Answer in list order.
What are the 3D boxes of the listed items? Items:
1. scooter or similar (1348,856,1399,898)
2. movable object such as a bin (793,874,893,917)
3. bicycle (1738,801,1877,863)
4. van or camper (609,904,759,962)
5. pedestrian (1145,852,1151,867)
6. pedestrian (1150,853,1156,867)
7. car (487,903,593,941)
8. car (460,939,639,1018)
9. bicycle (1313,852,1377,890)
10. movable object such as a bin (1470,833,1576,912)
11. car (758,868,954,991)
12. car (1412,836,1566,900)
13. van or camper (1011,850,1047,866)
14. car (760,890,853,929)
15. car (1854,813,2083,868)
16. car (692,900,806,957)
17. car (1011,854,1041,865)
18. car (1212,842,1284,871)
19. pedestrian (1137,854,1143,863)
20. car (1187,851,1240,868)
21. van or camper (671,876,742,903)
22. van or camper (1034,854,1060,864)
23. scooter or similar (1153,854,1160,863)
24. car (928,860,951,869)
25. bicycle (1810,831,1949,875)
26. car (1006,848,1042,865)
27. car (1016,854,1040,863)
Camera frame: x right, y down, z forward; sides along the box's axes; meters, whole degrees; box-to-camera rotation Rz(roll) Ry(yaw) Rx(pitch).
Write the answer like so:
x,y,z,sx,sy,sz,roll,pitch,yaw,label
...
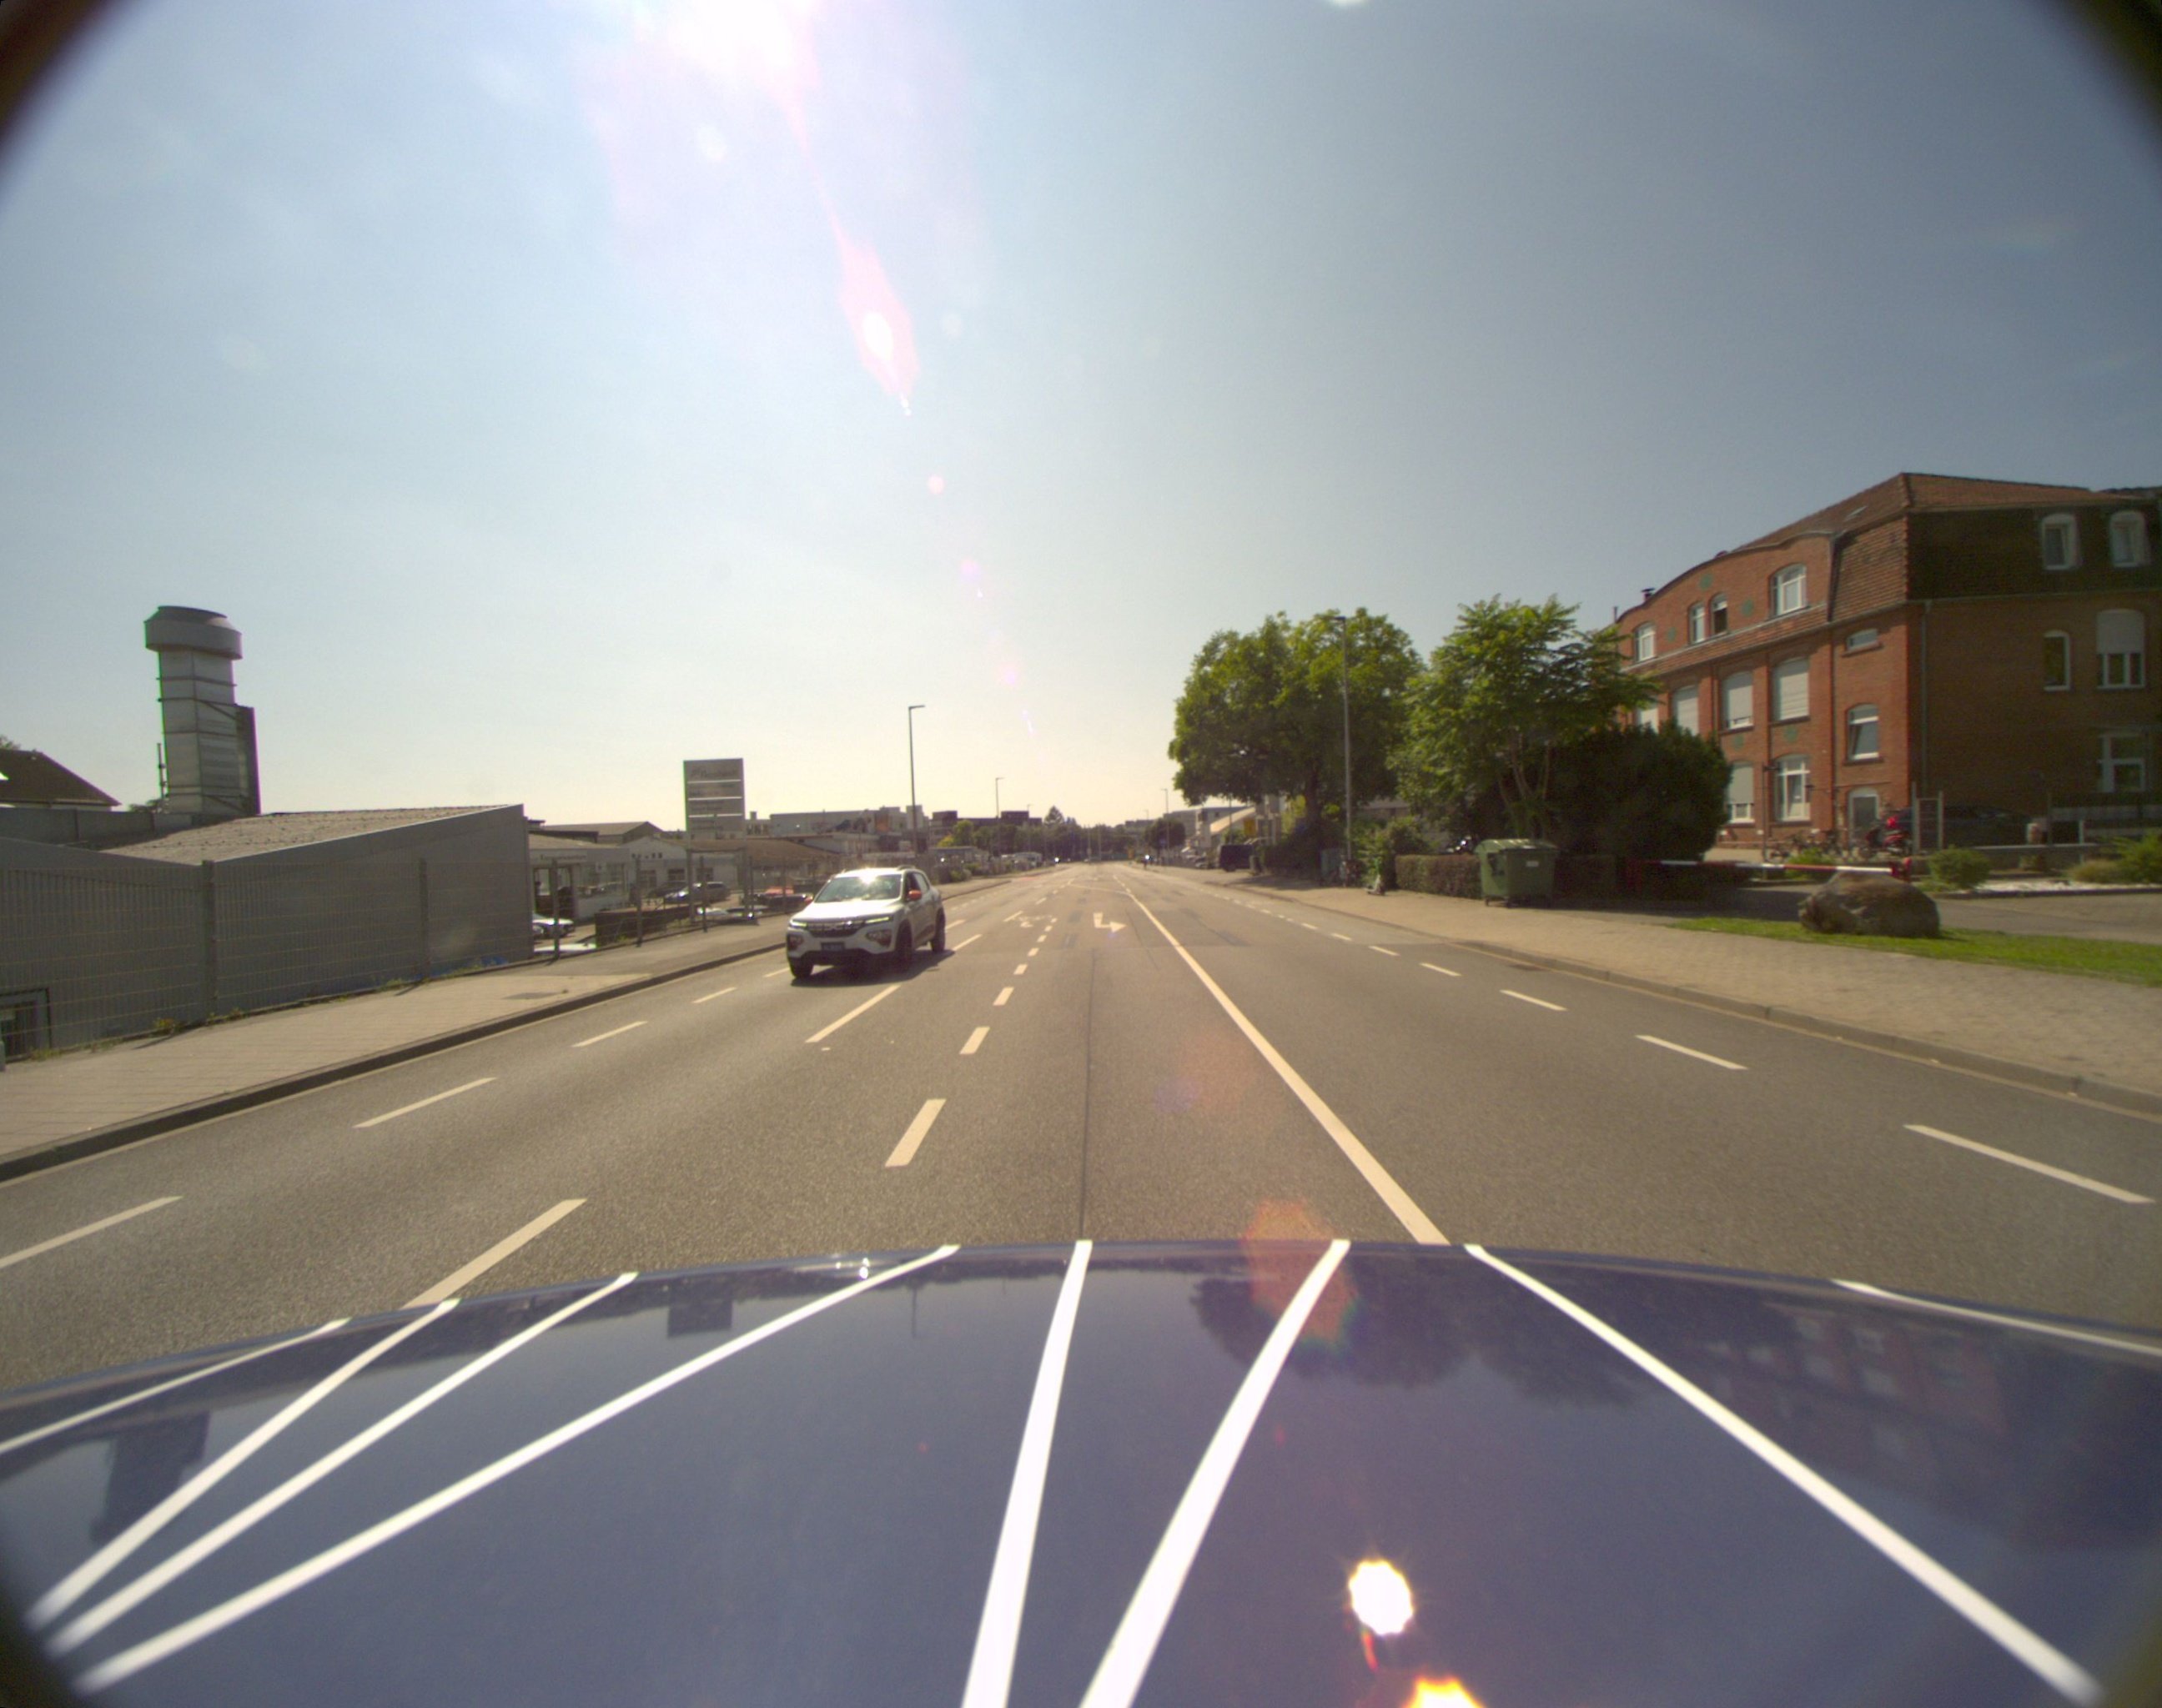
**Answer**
x,y,z,sx,sy,sz,roll,pitch,yaw,label
8.420,0.644,21.924,0.648,1.121,1.622,-5,0,-5,scooter or similar
-14.076,2.456,45.106,5.128,2.002,2.000,-5,1,1,movable object such as a bin
23.220,-0.668,24.462,0.889,1.813,3.761,-1,1,1,bicycle
-14.398,2.852,27.796,4.325,1.641,2.020,-3,1,-3,van or camper
9.059,0.736,102.394,0.734,1.856,1.047,-2,0,5,pedestrian
10.263,0.852,108.101,0.725,1.837,0.911,-2,0,-6,pedestrian
-27.994,3.504,39.421,3.997,1.653,1.999,-2,2,-1,car
-15.783,3.688,22.683,3.994,1.819,2.001,-5,0,10,car
8.767,0.528,25.418,1.029,1.111,2.765,-6,0,-1,bicycle
9.403,0.375,16.228,1.452,1.581,1.306,-2,0,-7,movable object such as a bin
-3.214,1.051,11.622,1.726,1.475,3.679,-4,-3,2,car
12.662,0.408,23.779,3.773,1.830,1.787,2,1,5,car
-9.768,0.737,142.452,6.364,2.684,2.712,-2,0,1,van or camper
-14.178,2.851,39.386,3.997,1.641,2.000,-3,1,0,car
28.741,-0.404,24.876,4.466,1.624,2.160,-1,1,34,car
-14.694,3.285,33.813,3.997,2.002,2.000,-5,1,0,car
-9.838,1.016,136.683,5.247,1.940,2.000,-1,0,1,car
11.657,0.166,53.337,4.577,1.854,2.093,-1,0,2,car
11.134,0.772,143.399,0.996,1.676,0.800,-2,0,12,pedestrian
12.792,0.547,73.475,4.751,1.472,2.048,-2,0,0,car
-27.322,2.558,55.592,1.994,1.535,4.235,3,4,28,van or camper
-7.445,1.085,166.284,5.144,1.950,1.982,-1,1,-29,van or camper
11.233,0.632,113.337,0.746,1.240,1.490,-3,0,-7,scooter or similar
-27.720,2.044,149.254,4.116,1.723,1.999,-2,0,-2,car
25.412,-0.052,24.328,0.883,1.279,3.441,-1,0,1,bicycle
-10.370,0.479,139.374,6.242,2.852,2.320,-2,0,2,car
-9.295,0.792,133.812,3.931,1.584,1.798,-2,0,1,car
